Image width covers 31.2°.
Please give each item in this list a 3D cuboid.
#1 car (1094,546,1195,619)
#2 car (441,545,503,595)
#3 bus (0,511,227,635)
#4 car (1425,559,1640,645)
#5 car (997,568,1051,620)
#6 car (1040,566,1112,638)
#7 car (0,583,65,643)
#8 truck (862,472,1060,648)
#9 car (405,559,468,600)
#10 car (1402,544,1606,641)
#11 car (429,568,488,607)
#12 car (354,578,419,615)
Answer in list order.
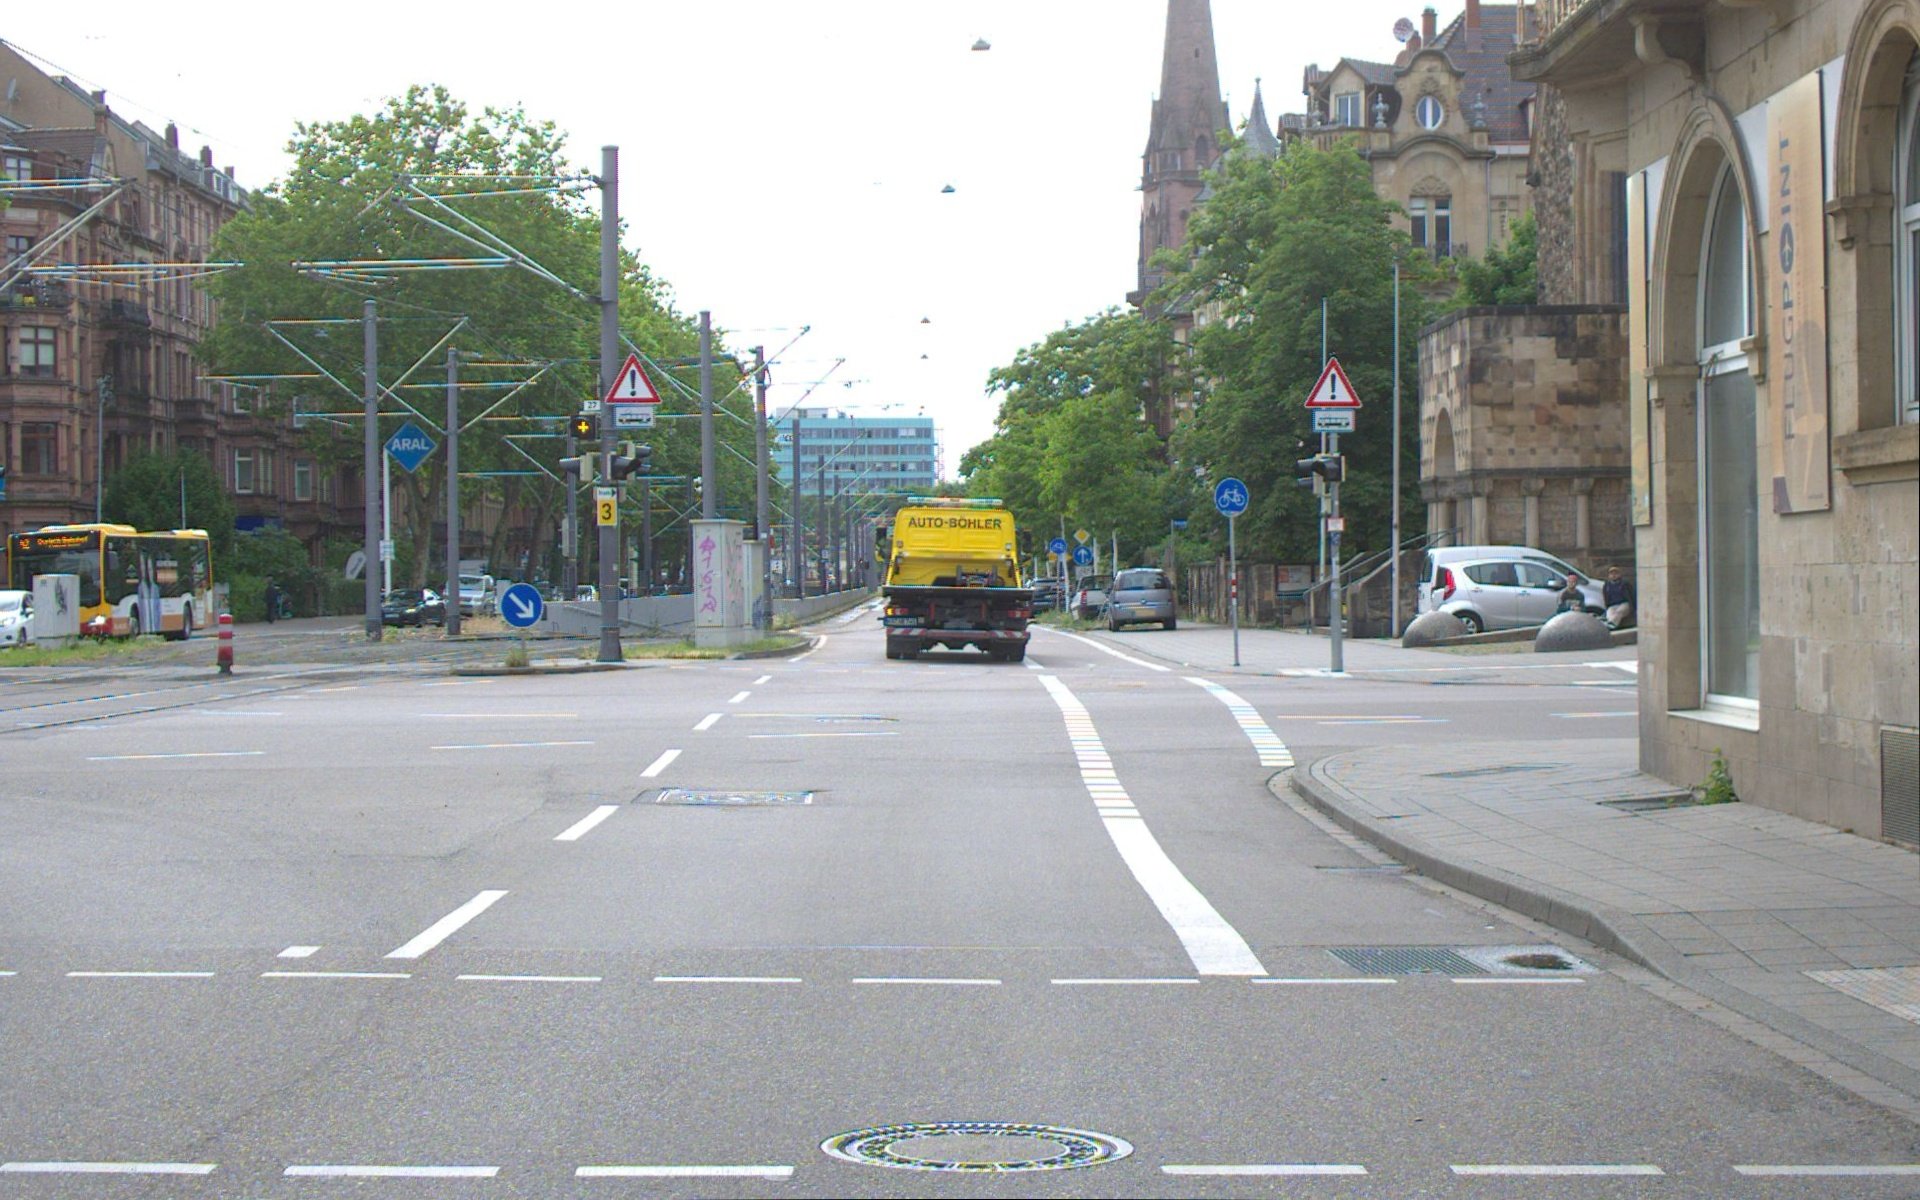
[{"bbox_3d":[4.862,-0.461,89.983,1.994,1.849,4.024,1,1,12],"label":"car"},{"bbox_3d":[-20.059,-1.227,141.507,1.993,2.007,4.000,1,1,-1],"label":"car"},{"bbox_3d":[-22.446,-0.731,90.971,3.231,3.025,12.311,1,1,1],"label":"bus"},{"bbox_3d":[10.784,0.025,64.946,3.713,1.558,2.000,1,0,0],"label":"car"},{"bbox_3d":[2.529,-0.261,136.190,1.993,2.007,4.000,1,1,-1],"label":"car"},{"bbox_3d":[3.338,0.045,99.644,1.993,2.007,4.000,1,1,1],"label":"car"},{"bbox_3d":[-21.916,0.275,79.044,1.656,1.316,3.638,1,1,1],"label":"car"},{"bbox_3d":[-0.127,-0.688,59.201,3.055,2.760,9.816,0,1,-2],"label":"truck"},{"bbox_3d":[-21.544,-0.856,141.519,1.993,1.605,4.000,1,1,-1],"label":"car"},{"bbox_3d":[10.787,-0.153,68.403,3.713,1.849,2.000,1,0,0],"label":"car"},{"bbox_3d":[-21.746,-0.550,149.282,1.993,1.605,4.000,1,1,-1],"label":"car"},{"bbox_3d":[-20.710,-0.135,124.251,1.656,1.316,3.638,1,1,1],"label":"car"}]
